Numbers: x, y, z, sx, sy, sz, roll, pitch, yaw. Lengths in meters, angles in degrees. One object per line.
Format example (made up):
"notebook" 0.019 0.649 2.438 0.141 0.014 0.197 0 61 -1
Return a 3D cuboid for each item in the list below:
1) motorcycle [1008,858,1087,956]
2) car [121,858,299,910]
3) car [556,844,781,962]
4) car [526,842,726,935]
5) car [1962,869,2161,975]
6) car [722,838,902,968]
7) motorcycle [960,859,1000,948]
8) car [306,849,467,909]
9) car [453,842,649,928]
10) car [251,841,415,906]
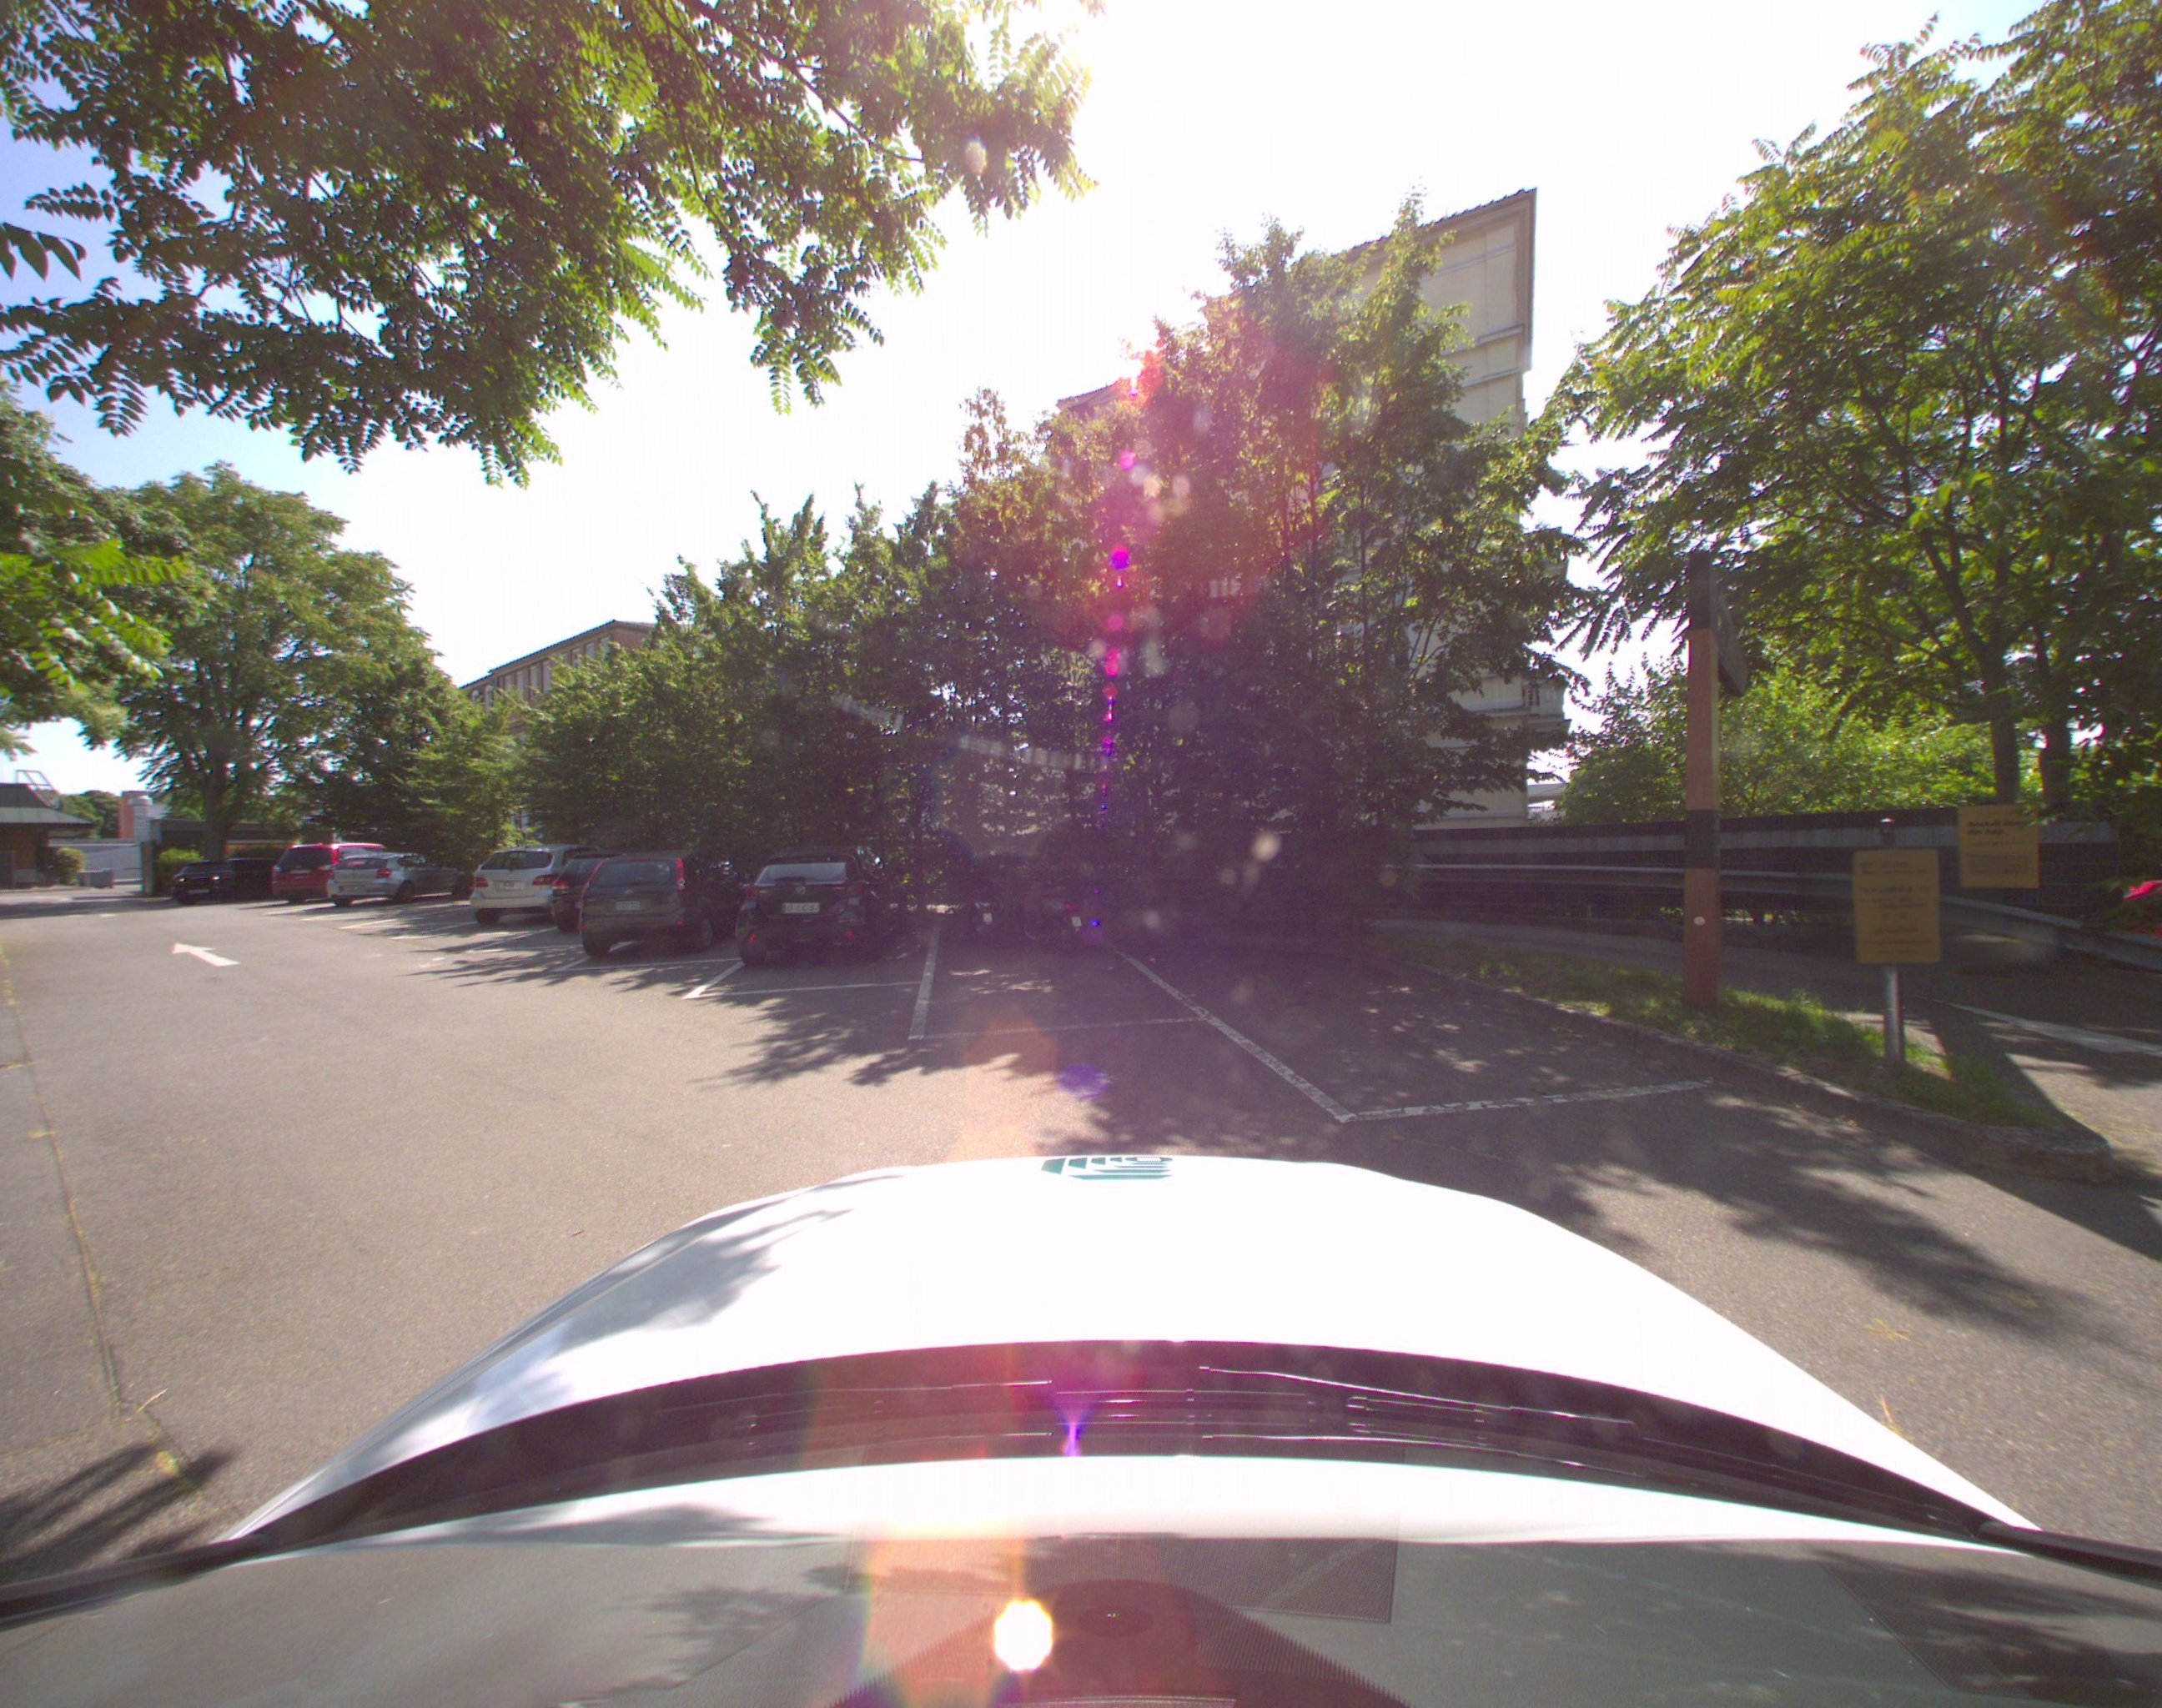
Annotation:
"motorcycle" -0.471 0.653 10.817 0.570 1.169 1.595 -2 1 -20
"car" -27.850 0.897 26.249 1.768 1.389 3.988 -2 1 -9
"car" -6.335 0.643 13.076 1.695 1.453 3.996 -2 2 -4
"car" -8.863 0.577 16.308 1.764 1.469 3.998 -2 2 -2
"car" 15.566 0.957 11.896 3.371 1.378 1.496 -2 2 32
"car" -3.698 0.554 11.891 1.654 1.469 3.896 -2 2 -6
"motorcycle" -1.481 0.674 11.794 0.473 1.140 1.600 -2 1 -9
"car" -20.165 0.647 23.897 1.769 1.475 3.985 -2 2 -11
"car" -11.391 0.566 17.891 1.764 1.571 3.996 -2 2 -3
"car" -23.247 0.525 25.548 1.768 1.734 3.987 -3 2 -10
